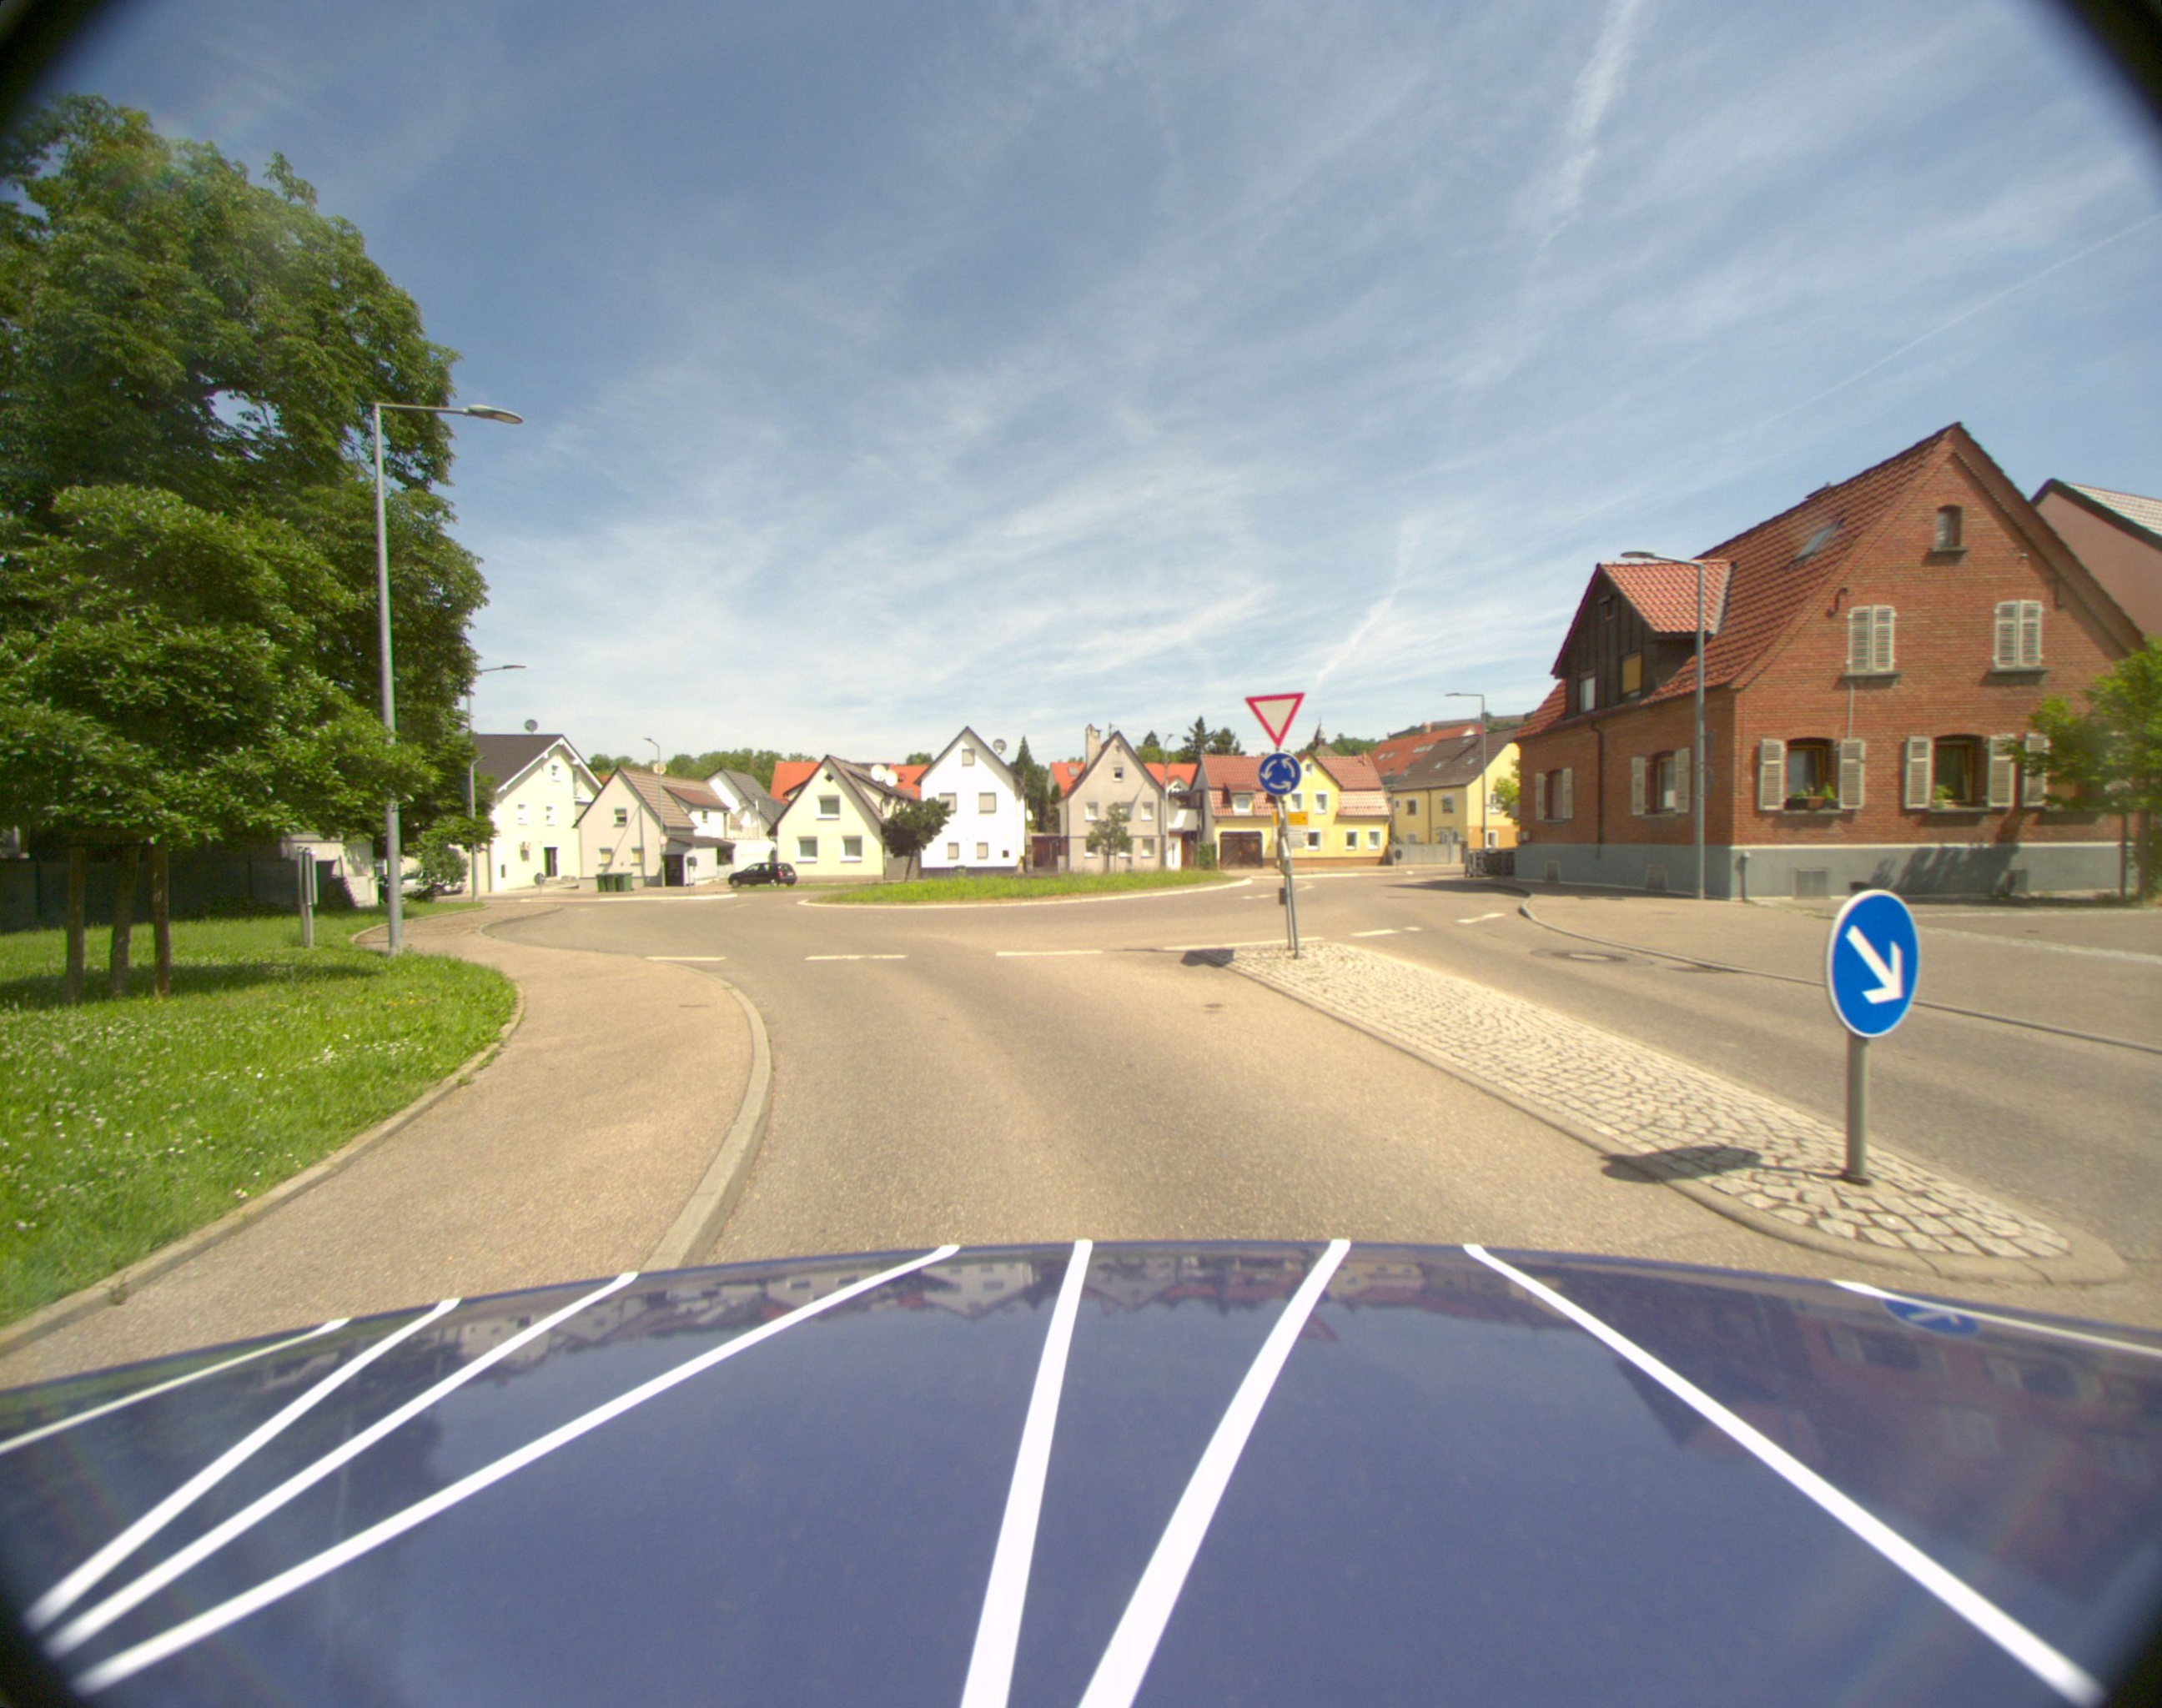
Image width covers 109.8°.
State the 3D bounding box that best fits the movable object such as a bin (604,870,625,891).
[{"bbox_3d":[-25.573,1.436,41.657,0.632,1.071,0.732,-2,4,7],"label":"movable object such as a bin"}]

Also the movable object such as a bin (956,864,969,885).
[{"bbox_3d":[-6.384,1.095,40.871,0.579,1.042,0.902,-2,0,-13],"label":"movable object such as a bin"}]

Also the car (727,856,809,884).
[{"bbox_3d":[-17.553,0.888,42.656,3.840,1.433,1.779,0,4,11],"label":"car"}]

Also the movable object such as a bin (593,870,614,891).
[{"bbox_3d":[-26.247,1.474,41.755,0.631,1.087,0.643,-2,4,7],"label":"movable object such as a bin"}]

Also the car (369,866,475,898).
[{"bbox_3d":[-36.655,1.523,42.365,4.000,1.494,1.824,-2,3,-8],"label":"car"}]

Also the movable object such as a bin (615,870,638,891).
[{"bbox_3d":[-24.848,1.464,41.569,0.724,1.071,0.683,-2,4,7],"label":"movable object such as a bin"}]
